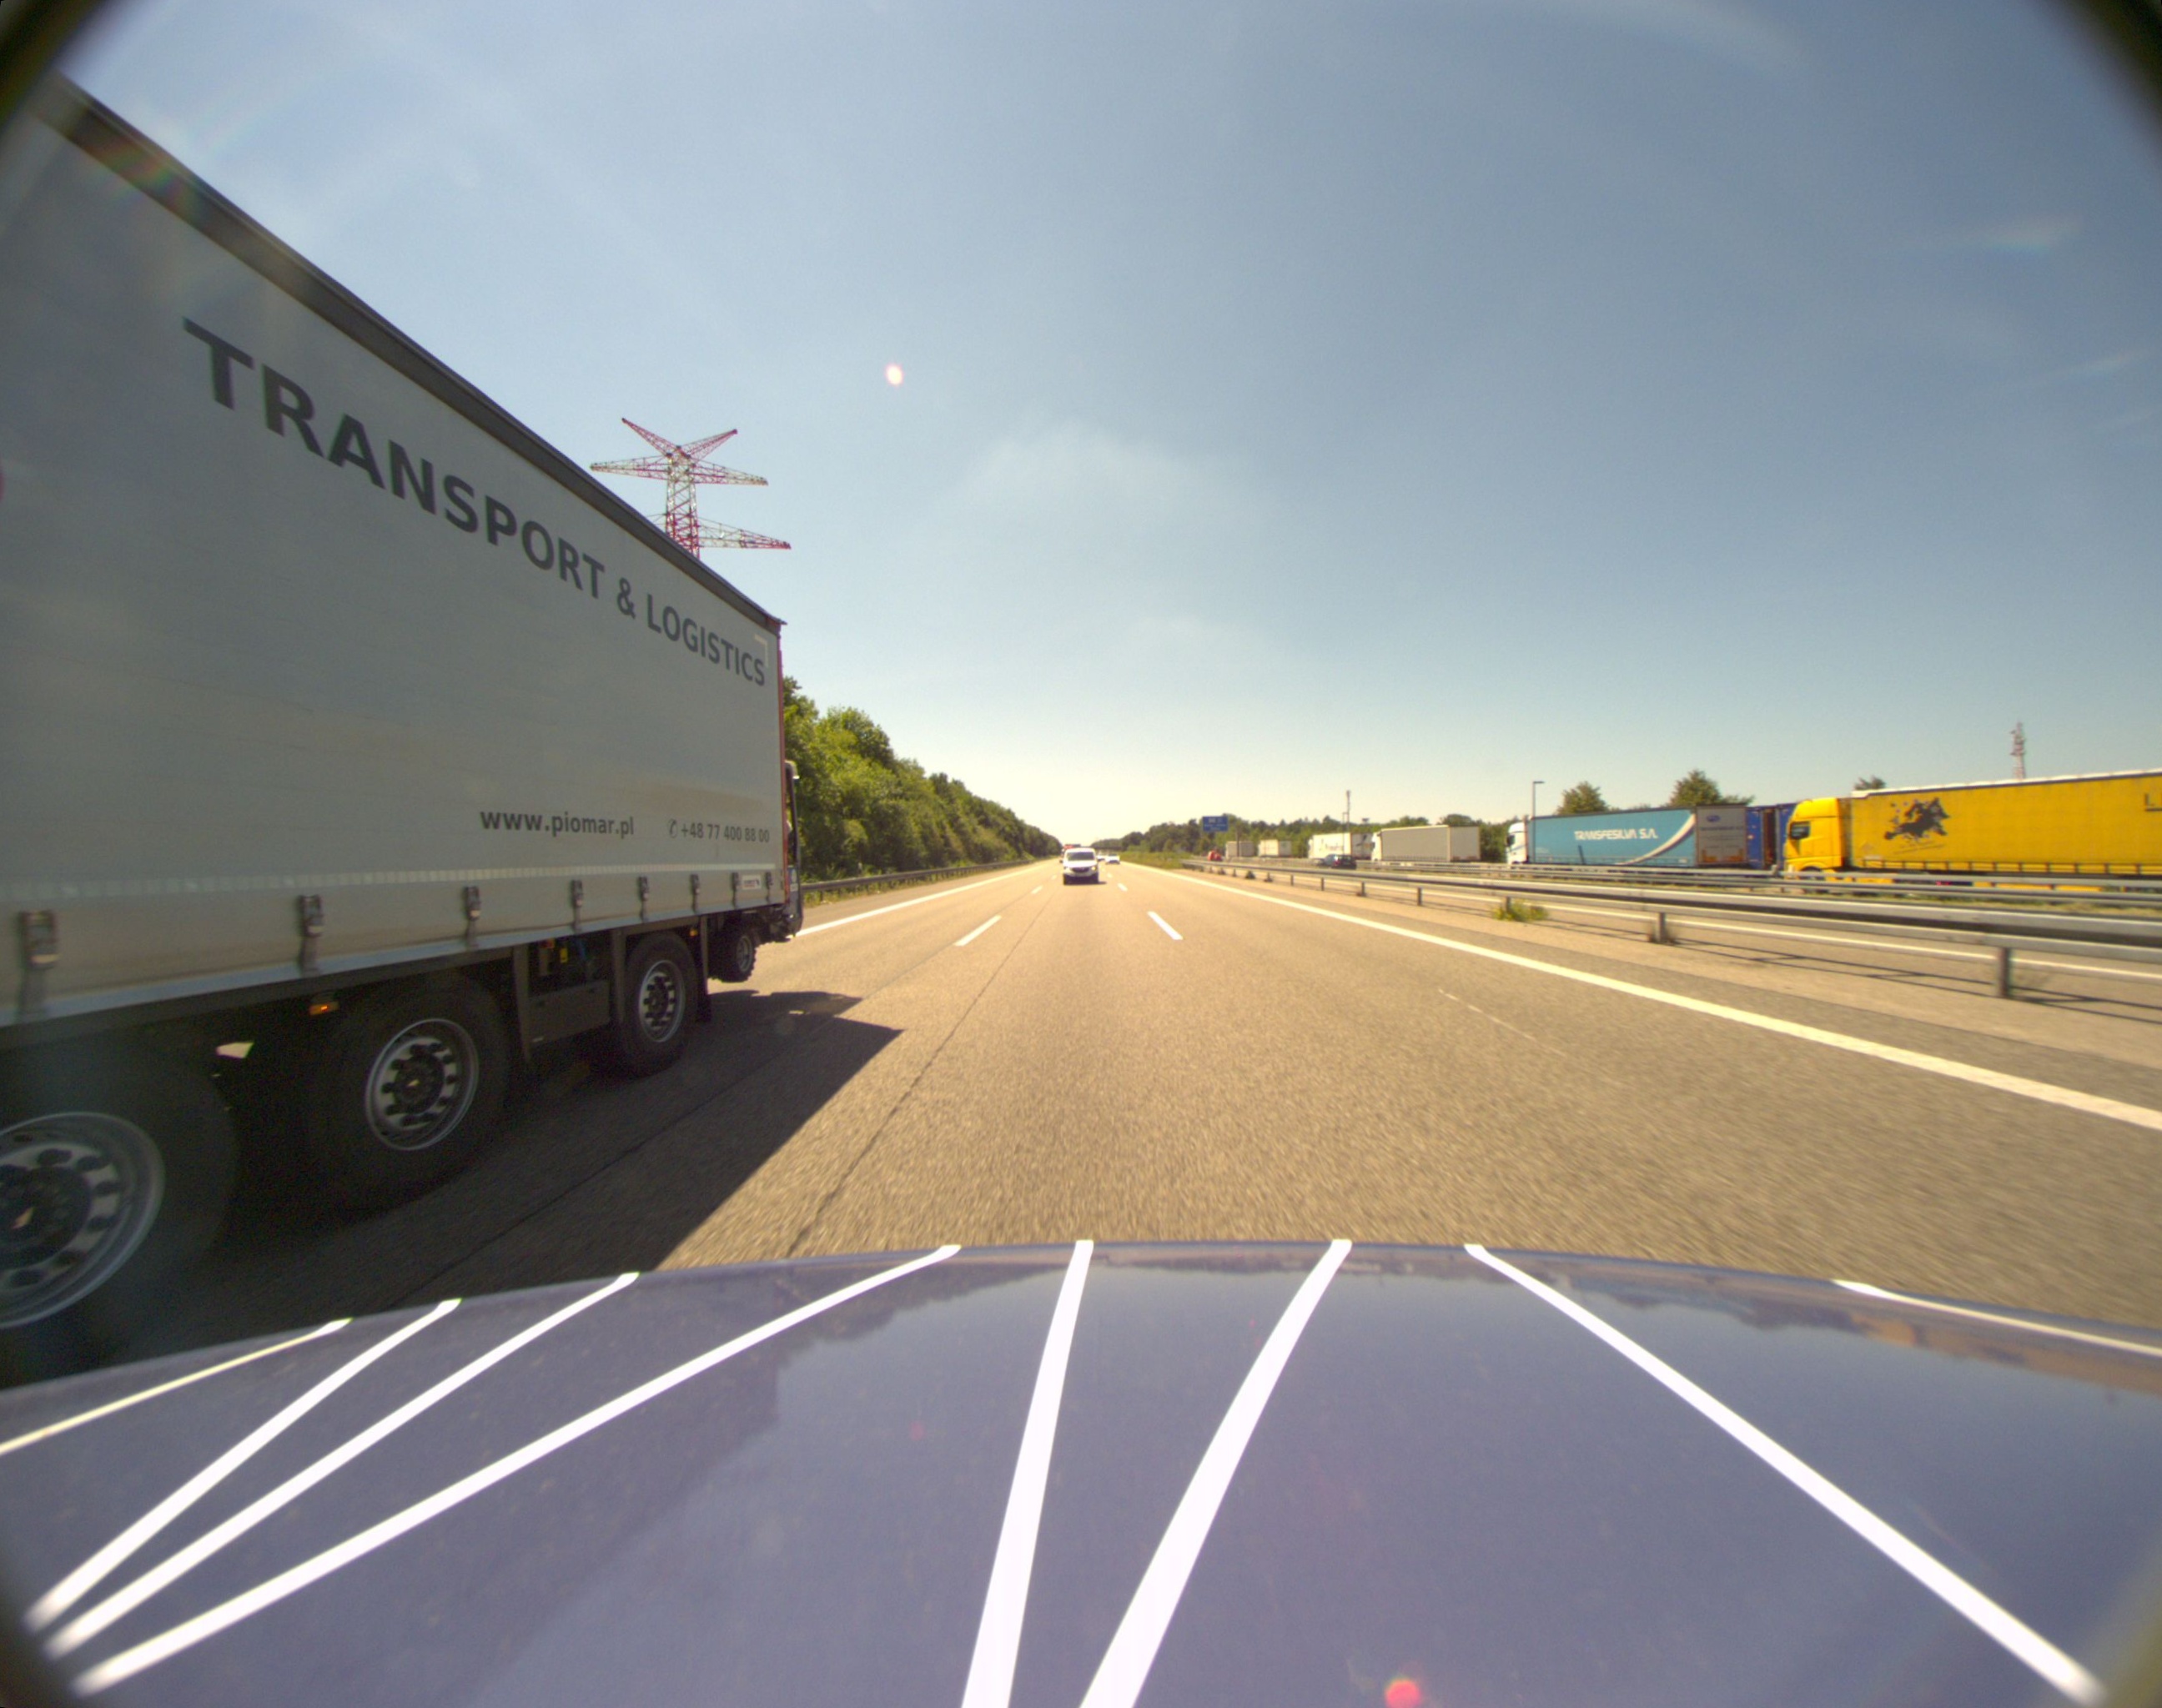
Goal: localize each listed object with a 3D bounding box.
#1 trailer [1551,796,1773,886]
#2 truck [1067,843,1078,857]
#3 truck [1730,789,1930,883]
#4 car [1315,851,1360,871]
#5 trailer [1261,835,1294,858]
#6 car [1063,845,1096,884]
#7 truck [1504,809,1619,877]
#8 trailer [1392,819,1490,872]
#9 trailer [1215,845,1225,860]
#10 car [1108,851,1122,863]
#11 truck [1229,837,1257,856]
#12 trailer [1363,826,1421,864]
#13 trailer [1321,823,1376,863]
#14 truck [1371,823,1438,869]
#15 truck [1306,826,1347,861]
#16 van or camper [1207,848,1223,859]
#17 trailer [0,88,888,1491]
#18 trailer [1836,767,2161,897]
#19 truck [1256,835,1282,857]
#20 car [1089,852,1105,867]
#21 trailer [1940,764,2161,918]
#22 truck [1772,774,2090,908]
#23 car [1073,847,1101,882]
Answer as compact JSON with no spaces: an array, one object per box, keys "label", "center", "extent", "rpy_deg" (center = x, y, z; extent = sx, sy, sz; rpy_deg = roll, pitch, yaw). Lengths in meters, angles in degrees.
[{"label":"trailer","center":[31.193,-0.675,41.923],"extent":[2.840,4.124,12.082],"rpy_deg":[-3,0,0]},{"label":"truck","center":[-2.271,-1.038,207.990],"extent":[2.540,3.656,5.219],"rpy_deg":[-3,1,1]},{"label":"truck","center":[36.238,-0.830,37.237],"extent":[2.840,4.049,7.089],"rpy_deg":[-3,1,2]},{"label":"car","center":[18.018,0.473,53.641],"extent":[1.746,1.269,4.318],"rpy_deg":[2,1,1]},{"label":"trailer","center":[37.776,-1.479,146.537],"extent":[3.102,4.132,12.009],"rpy_deg":[-3,0,0]},{"label":"car","center":[-0.060,0.486,38.519],"extent":[1.501,1.799,3.394],"rpy_deg":[-3,1,0]},{"label":"truck","center":[31.175,-0.696,49.735],"extent":[2.857,4.049,7.088],"rpy_deg":[-3,1,0]},{"label":"trailer","center":[31.404,-0.697,67.019],"extent":[3.121,4.134,11.013],"rpy_deg":[-3,1,-1]},{"label":"trailer","center":[22.437,-0.298,122.513],"extent":[1.170,2.355,1.998],"rpy_deg":[-1,1,0]},{"label":"car","center":[4.441,0.361,99.530],"extent":[1.775,1.410,3.401],"rpy_deg":[-3,1,1]},{"label":"truck","center":[33.135,-1.557,156.092],"extent":[2.806,3.622,13.605],"rpy_deg":[-3,0,0]},{"label":"trailer","center":[35.717,-0.996,87.736],"extent":[2.702,3.982,9.307],"rpy_deg":[-3,1,0]},{"label":"trailer","center":[31.115,-1.255,88.955],"extent":[2.605,4.194,10.513],"rpy_deg":[-3,1,0]},{"label":"truck","center":[31.317,-0.766,73.930],"extent":[3.125,4.134,7.503],"rpy_deg":[-3,1,-1]},{"label":"truck","center":[31.114,-1.318,96.643],"extent":[2.588,4.164,7.935],"rpy_deg":[-2,1,0]},{"label":"van or camper","center":[22.470,-0.149,127.385],"extent":[1.901,1.828,4.746],"rpy_deg":[-1,0,0]},{"label":"trailer","center":[-4.221,-0.195,4.126],"extent":[2.496,3.887,14.244],"rpy_deg":[-2,1,0]},{"label":"trailer","center":[36.001,-0.812,29.316],"extent":[2.840,4.124,11.083],"rpy_deg":[-3,1,2]},{"label":"truck","center":[37.800,-1.529,153.064],"extent":[3.103,4.128,8.315],"rpy_deg":[-3,1,0]},{"label":"car","center":[1.710,0.530,82.663],"extent":[1.586,1.497,3.793],"rpy_deg":[-3,1,1]},{"label":"trailer","center":[30.841,-0.402,20.432],"extent":[2.840,4.195,11.081],"rpy_deg":[-3,1,0]},{"label":"truck","center":[30.801,-0.447,28.259],"extent":[2.840,4.176,7.917],"rpy_deg":[-3,1,0]},{"label":"car","center":[0.299,0.537,42.221],"extent":[1.413,1.795,3.200],"rpy_deg":[-3,1,0]}]
